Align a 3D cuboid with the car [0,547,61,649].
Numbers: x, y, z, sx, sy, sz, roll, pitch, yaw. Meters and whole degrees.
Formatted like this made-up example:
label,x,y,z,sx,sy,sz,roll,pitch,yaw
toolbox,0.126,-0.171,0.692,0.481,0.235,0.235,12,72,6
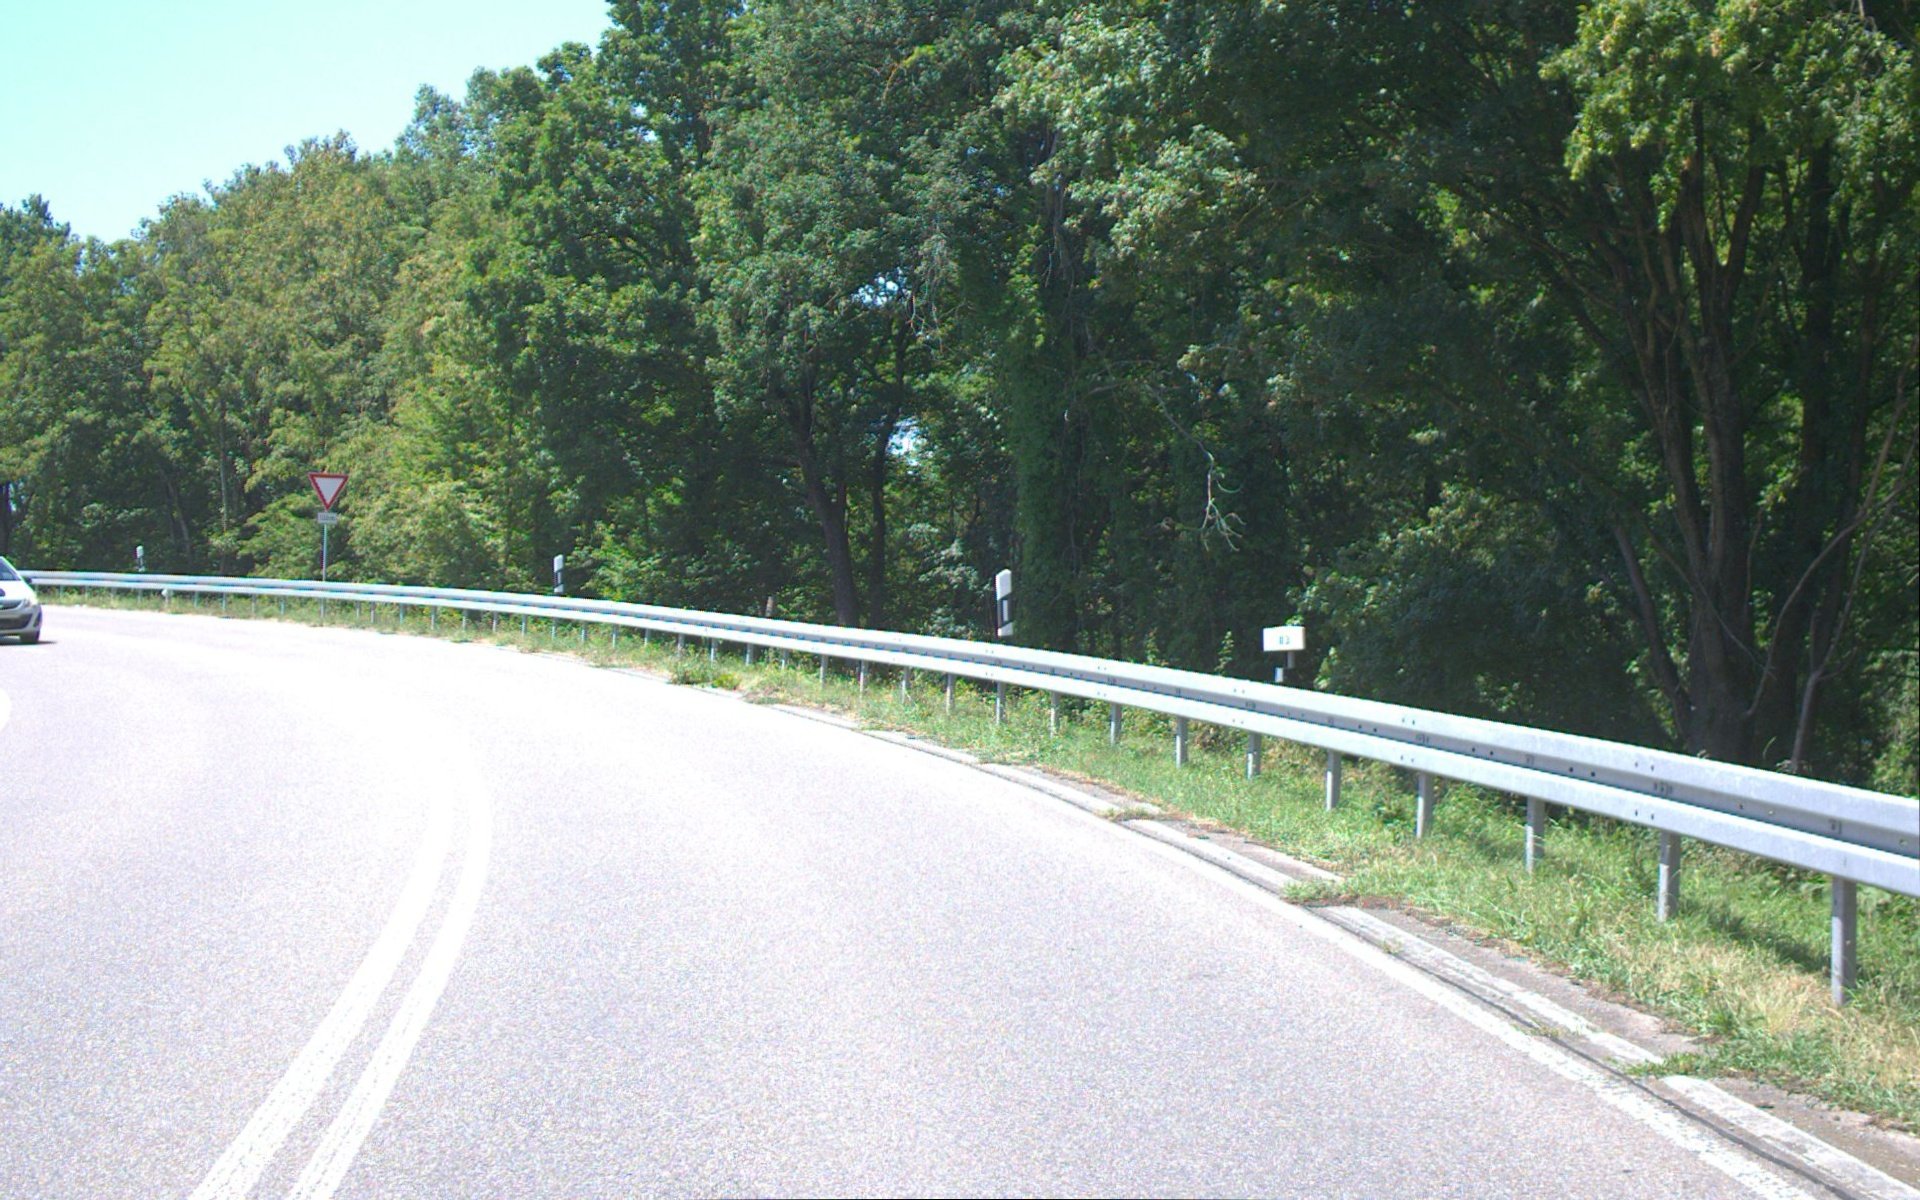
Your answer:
label,x,y,z,sx,sy,sz,roll,pitch,yaw
car,-15.786,0.025,54.366,1.822,1.502,4.171,-2,-1,-32
